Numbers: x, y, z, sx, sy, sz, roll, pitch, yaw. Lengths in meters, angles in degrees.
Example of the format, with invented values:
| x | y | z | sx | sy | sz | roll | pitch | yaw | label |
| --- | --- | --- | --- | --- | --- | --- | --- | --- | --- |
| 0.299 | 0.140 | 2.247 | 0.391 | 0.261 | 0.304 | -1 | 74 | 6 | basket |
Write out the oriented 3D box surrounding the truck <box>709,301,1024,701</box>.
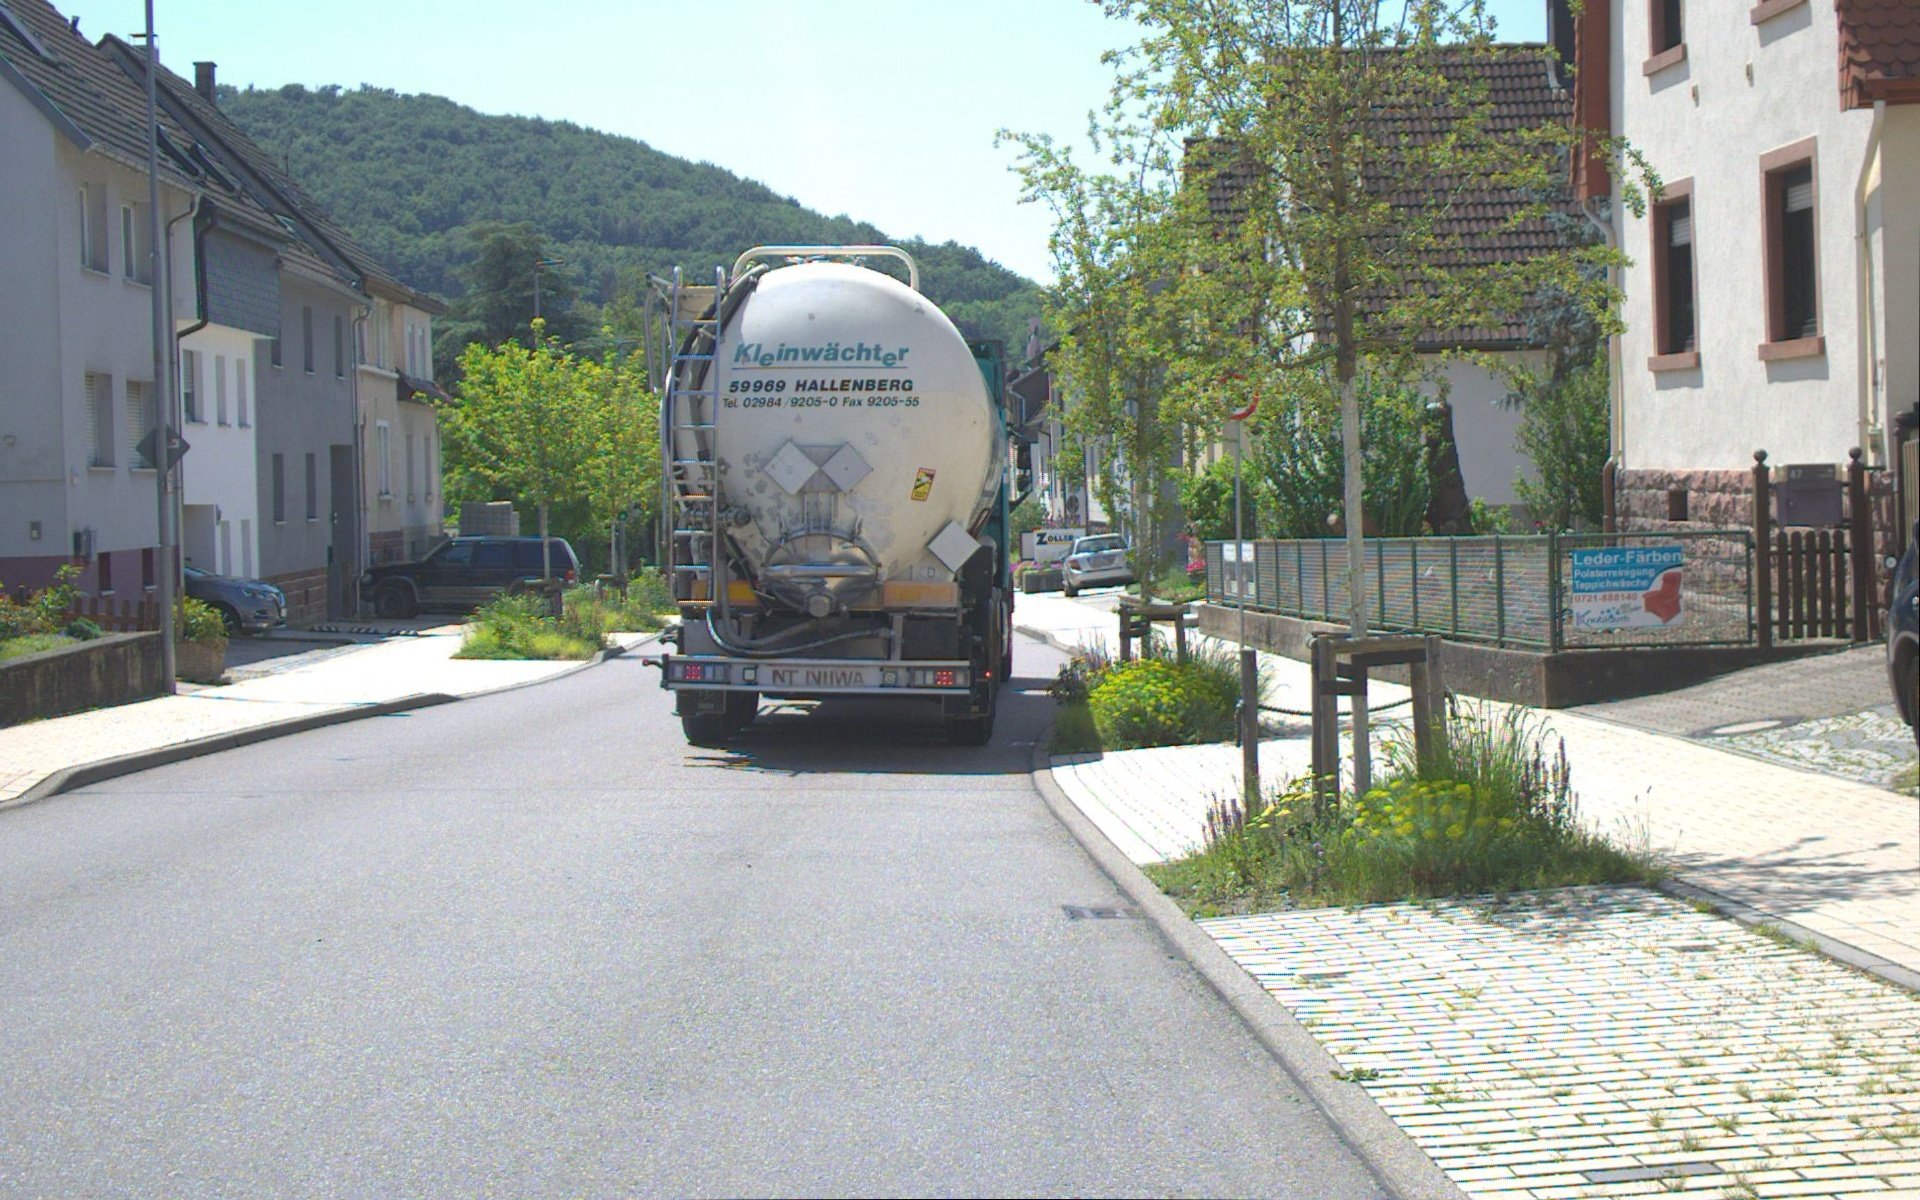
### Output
| x | y | z | sx | sy | sz | roll | pitch | yaw | label |
| --- | --- | --- | --- | --- | --- | --- | --- | --- | --- |
| -0.877 | -1.025 | 37.122 | 2.809 | 3.923 | 6.098 | 1 | 1 | 4 | truck |

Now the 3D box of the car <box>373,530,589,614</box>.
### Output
| x | y | z | sx | sy | sz | roll | pitch | yaw | label |
| --- | --- | --- | --- | --- | --- | --- | --- | --- | --- |
| -10.186 | -0.608 | 73.361 | 4.394 | 1.744 | 1.878 | 0 | 1 | -2 | car |

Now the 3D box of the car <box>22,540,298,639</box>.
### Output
| x | y | z | sx | sy | sz | roll | pitch | yaw | label |
| --- | --- | --- | --- | --- | --- | --- | --- | --- | --- |
| -12.678 | -0.182 | 54.643 | 3.987 | 1.540 | 1.832 | 0 | 1 | -1 | car |

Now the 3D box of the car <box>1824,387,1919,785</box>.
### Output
| x | y | z | sx | sy | sz | roll | pitch | yaw | label |
| --- | --- | --- | --- | --- | --- | --- | --- | --- | --- |
| 5.639 | -0.120 | 15.906 | 1.852 | 1.964 | 4.774 | -5 | 1 | -1 | car |

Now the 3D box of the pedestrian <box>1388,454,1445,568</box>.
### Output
| x | y | z | sx | sy | sz | roll | pitch | yaw | label |
| --- | --- | --- | --- | --- | --- | --- | --- | --- | --- |
| 6.673 | -1.304 | 50.293 | 0.604 | 1.610 | 0.552 | -6 | 1 | -1 | pedestrian |

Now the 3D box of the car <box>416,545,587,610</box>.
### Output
| x | y | z | sx | sy | sz | roll | pitch | yaw | label |
| --- | --- | --- | --- | --- | --- | --- | --- | --- | --- |
| -10.355 | -0.513 | 77.592 | 3.546 | 1.434 | 1.696 | 0 | 1 | 33 | car |

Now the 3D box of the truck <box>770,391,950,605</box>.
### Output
| x | y | z | sx | sy | sz | roll | pitch | yaw | label |
| --- | --- | --- | --- | --- | --- | --- | --- | --- | --- |
| -2.604 | -2.464 | 85.352 | 3.910 | 4.879 | 9.798 | -2 | 1 | -4 | truck |

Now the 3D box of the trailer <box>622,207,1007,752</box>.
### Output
| x | y | z | sx | sy | sz | roll | pitch | yaw | label |
| --- | --- | --- | --- | --- | --- | --- | --- | --- | --- |
| -1.045 | -0.958 | 30.529 | 2.796 | 3.987 | 10.324 | 1 | 1 | 0 | trailer |

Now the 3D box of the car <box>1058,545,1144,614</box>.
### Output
| x | y | z | sx | sy | sz | roll | pitch | yaw | label |
| --- | --- | --- | --- | --- | --- | --- | --- | --- | --- |
| 3.418 | -0.510 | 84.136 | 1.791 | 1.536 | 4.520 | -4 | 1 | 0 | car |
